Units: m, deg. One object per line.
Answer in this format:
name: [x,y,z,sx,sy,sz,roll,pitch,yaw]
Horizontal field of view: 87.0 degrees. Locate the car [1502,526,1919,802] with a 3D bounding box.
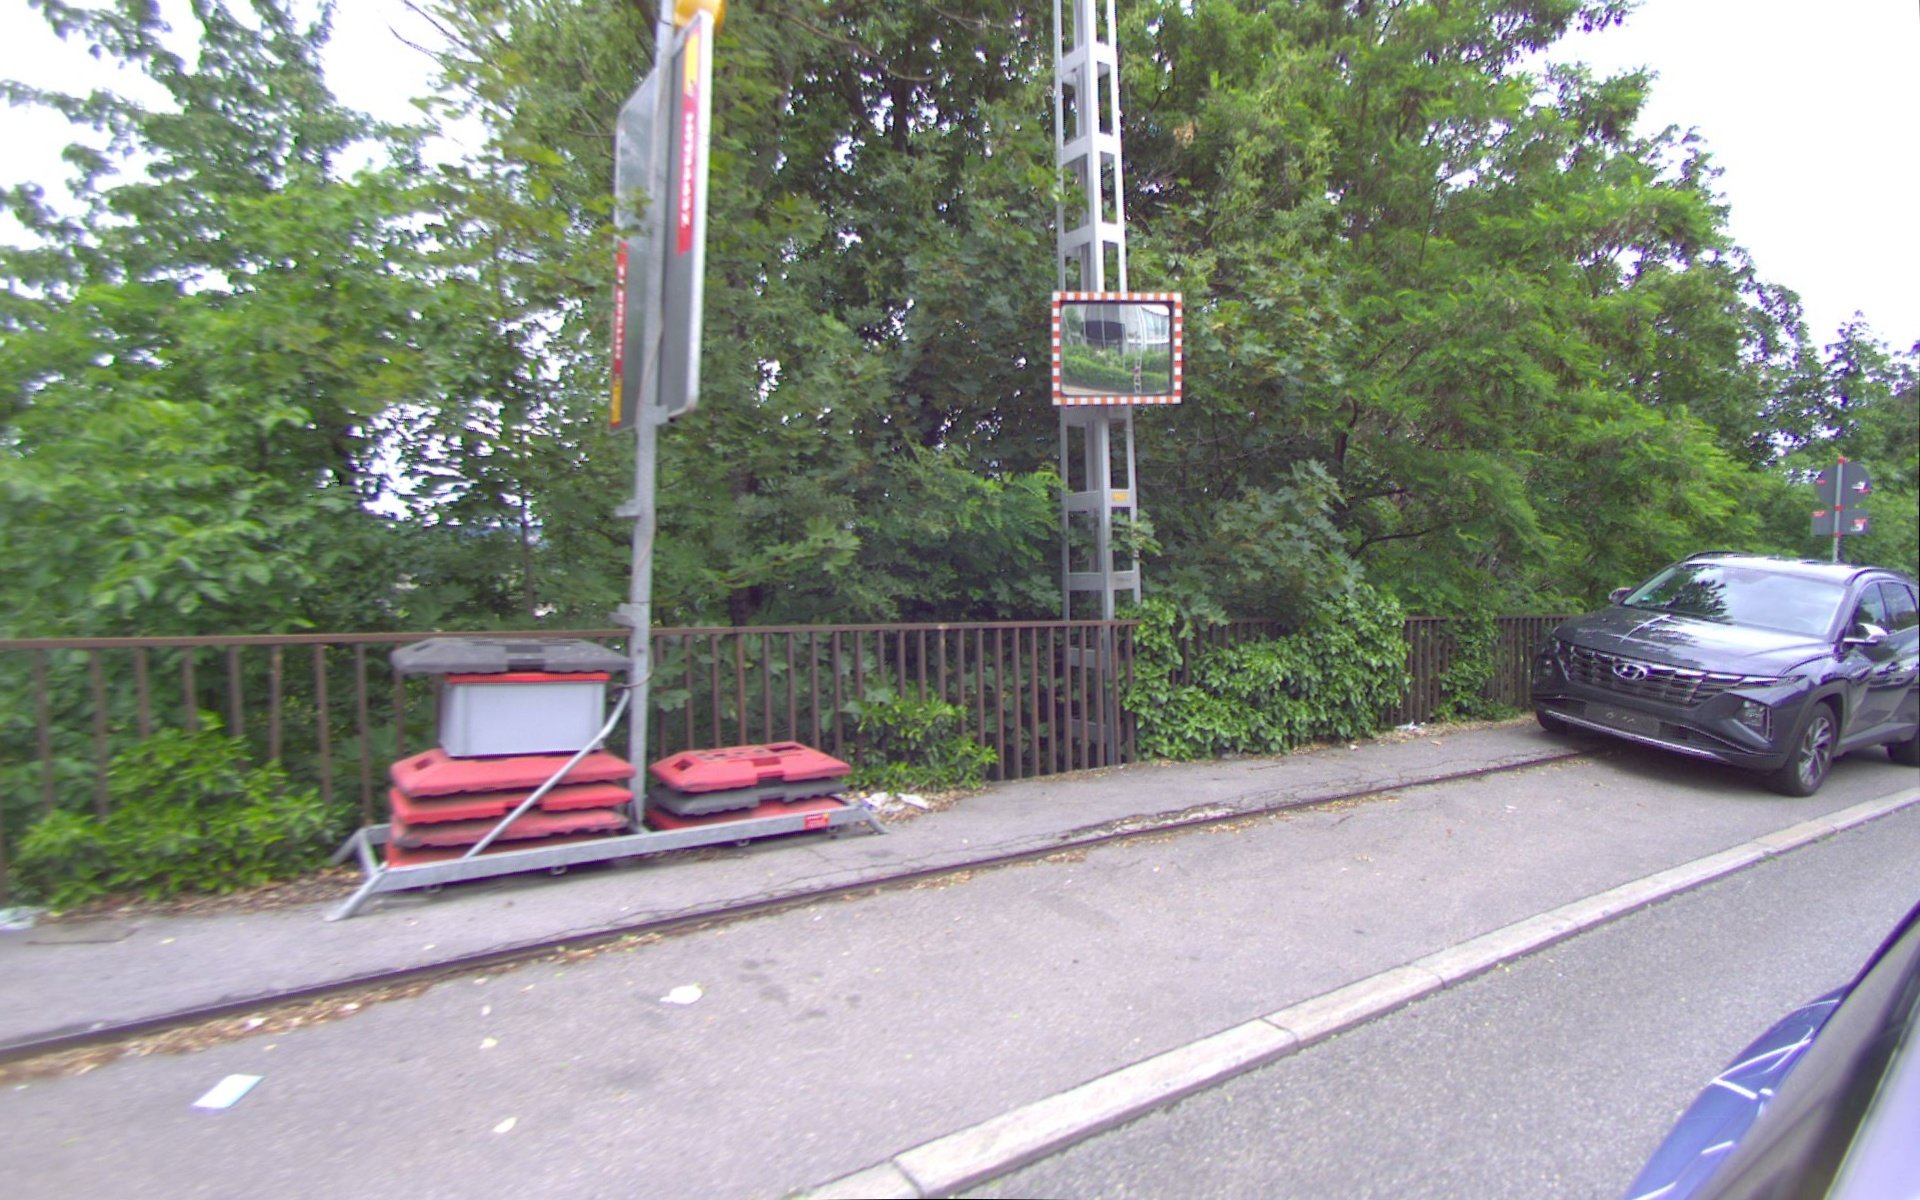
car: [6.704,0.367,8.432,4.194,1.693,1.863,0,6,-31]
